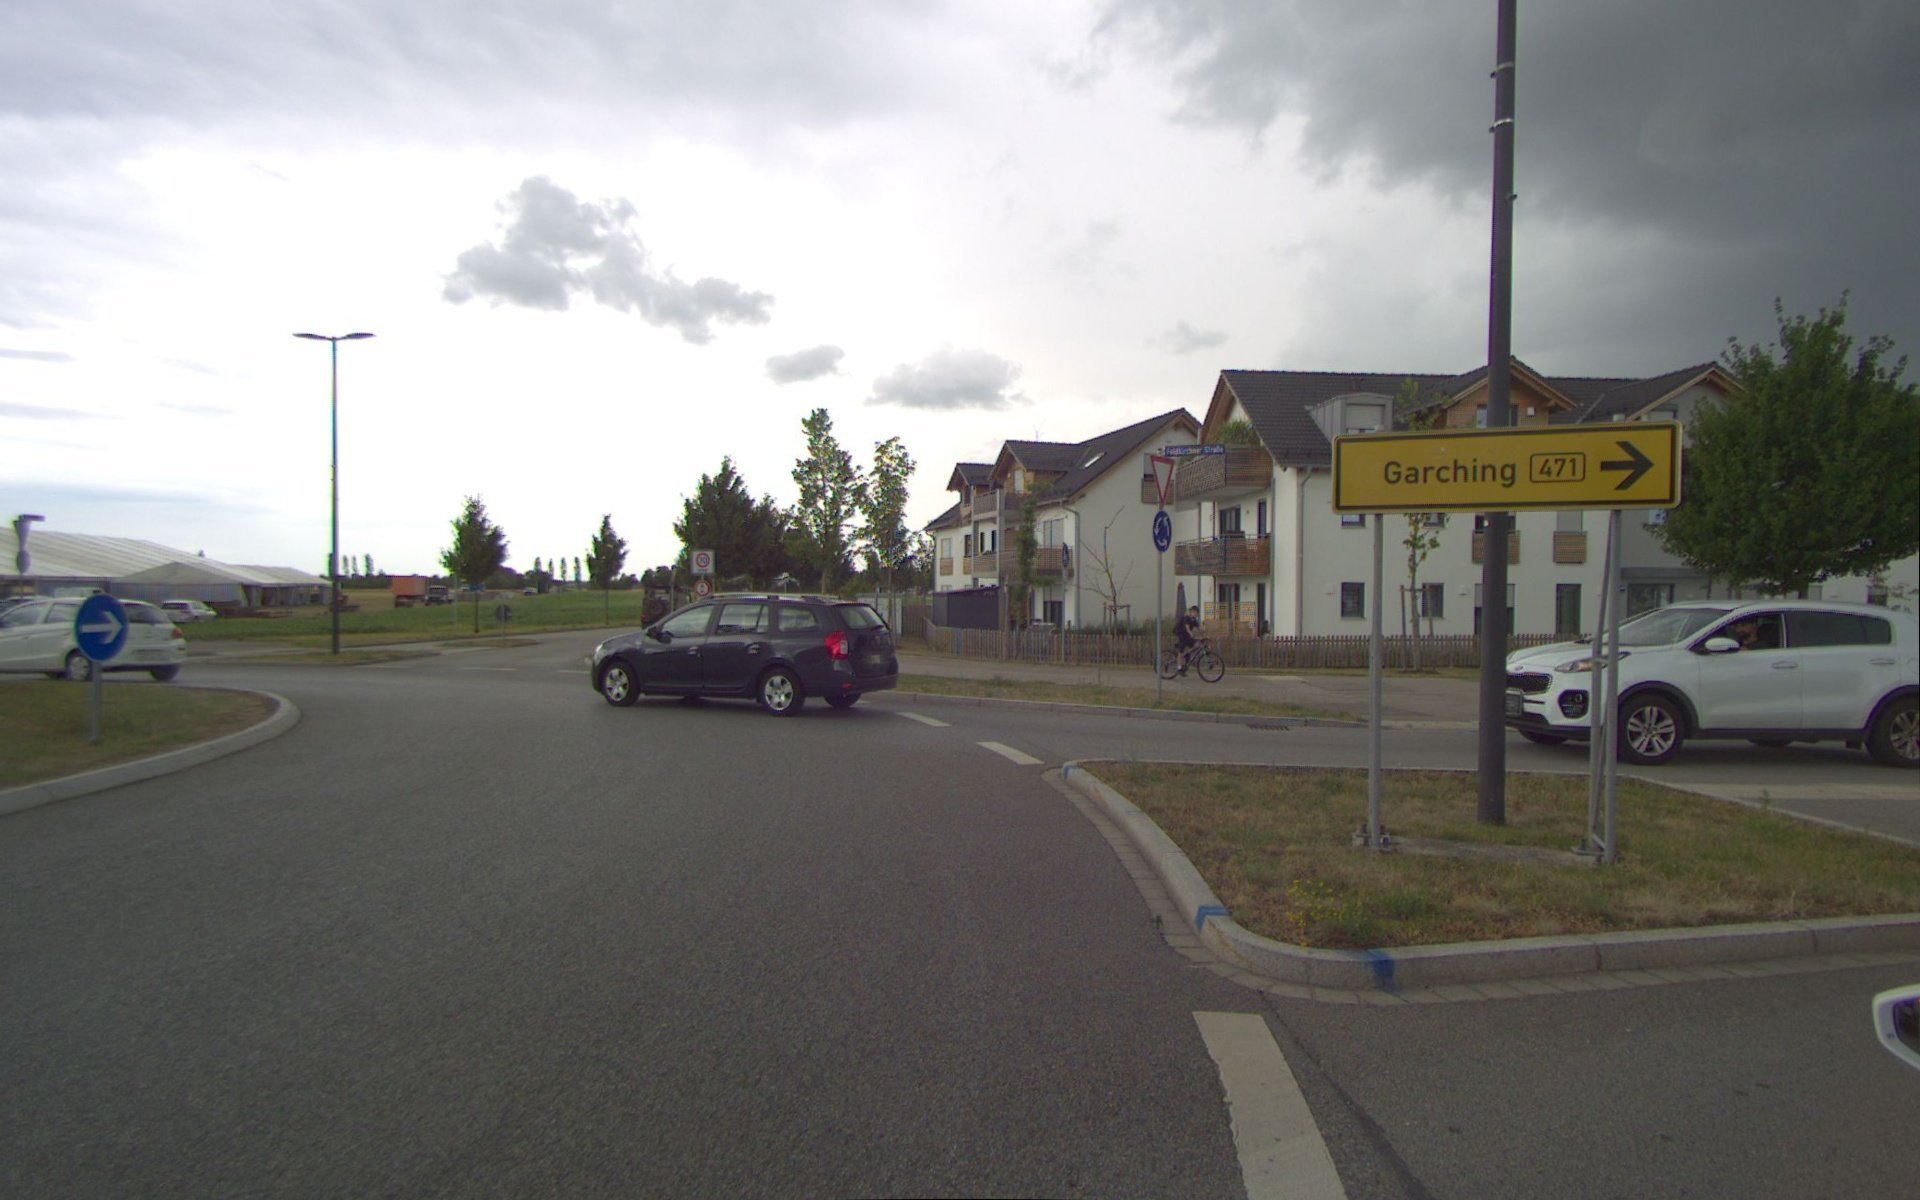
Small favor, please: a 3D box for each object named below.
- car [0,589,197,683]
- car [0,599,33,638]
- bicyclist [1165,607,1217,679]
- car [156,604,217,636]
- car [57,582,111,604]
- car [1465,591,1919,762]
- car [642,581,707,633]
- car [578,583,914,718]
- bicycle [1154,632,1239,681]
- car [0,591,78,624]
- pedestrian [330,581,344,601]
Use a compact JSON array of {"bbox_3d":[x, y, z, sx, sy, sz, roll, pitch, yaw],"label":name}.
[{"bbox_3d":[-15.913,0.596,18.063,3.330,1.539,1.634,1,1,9],"label":"car"},{"bbox_3d":[-42.625,0.766,43.516,3.798,1.628,1.735,1,1,12],"label":"car"},{"bbox_3d":[4.835,0.891,21.015,0.855,1.466,0.722,0,-1,37],"label":"bicyclist"},{"bbox_3d":[-41.483,1.059,53.975,1.708,1.574,3.975,0,1,-25],"label":"car"},{"bbox_3d":[-66.862,-0.568,76.711,1.807,1.628,3.812,0,1,-20],"label":"car"},{"bbox_3d":[8.004,0.763,10.731,4.364,1.647,1.713,1,0,-2],"label":"car"},{"bbox_3d":[-13.139,0.276,46.447,1.962,2.284,4.568,1,1,-4],"label":"car"},{"bbox_3d":[-2.916,0.612,13.691,4.196,1.584,1.773,1,-1,22],"label":"car"},{"bbox_3d":[4.918,1.154,20.953,1.686,0.959,0.495,0,-1,37],"label":"bicycle"},{"bbox_3d":[-47.135,0.368,51.361,1.807,1.628,3.811,0,1,-20],"label":"car"},{"bbox_3d":[-66.082,-0.946,106.541,1.034,2.041,1.057,0,1,-16],"label":"pedestrian"}]
